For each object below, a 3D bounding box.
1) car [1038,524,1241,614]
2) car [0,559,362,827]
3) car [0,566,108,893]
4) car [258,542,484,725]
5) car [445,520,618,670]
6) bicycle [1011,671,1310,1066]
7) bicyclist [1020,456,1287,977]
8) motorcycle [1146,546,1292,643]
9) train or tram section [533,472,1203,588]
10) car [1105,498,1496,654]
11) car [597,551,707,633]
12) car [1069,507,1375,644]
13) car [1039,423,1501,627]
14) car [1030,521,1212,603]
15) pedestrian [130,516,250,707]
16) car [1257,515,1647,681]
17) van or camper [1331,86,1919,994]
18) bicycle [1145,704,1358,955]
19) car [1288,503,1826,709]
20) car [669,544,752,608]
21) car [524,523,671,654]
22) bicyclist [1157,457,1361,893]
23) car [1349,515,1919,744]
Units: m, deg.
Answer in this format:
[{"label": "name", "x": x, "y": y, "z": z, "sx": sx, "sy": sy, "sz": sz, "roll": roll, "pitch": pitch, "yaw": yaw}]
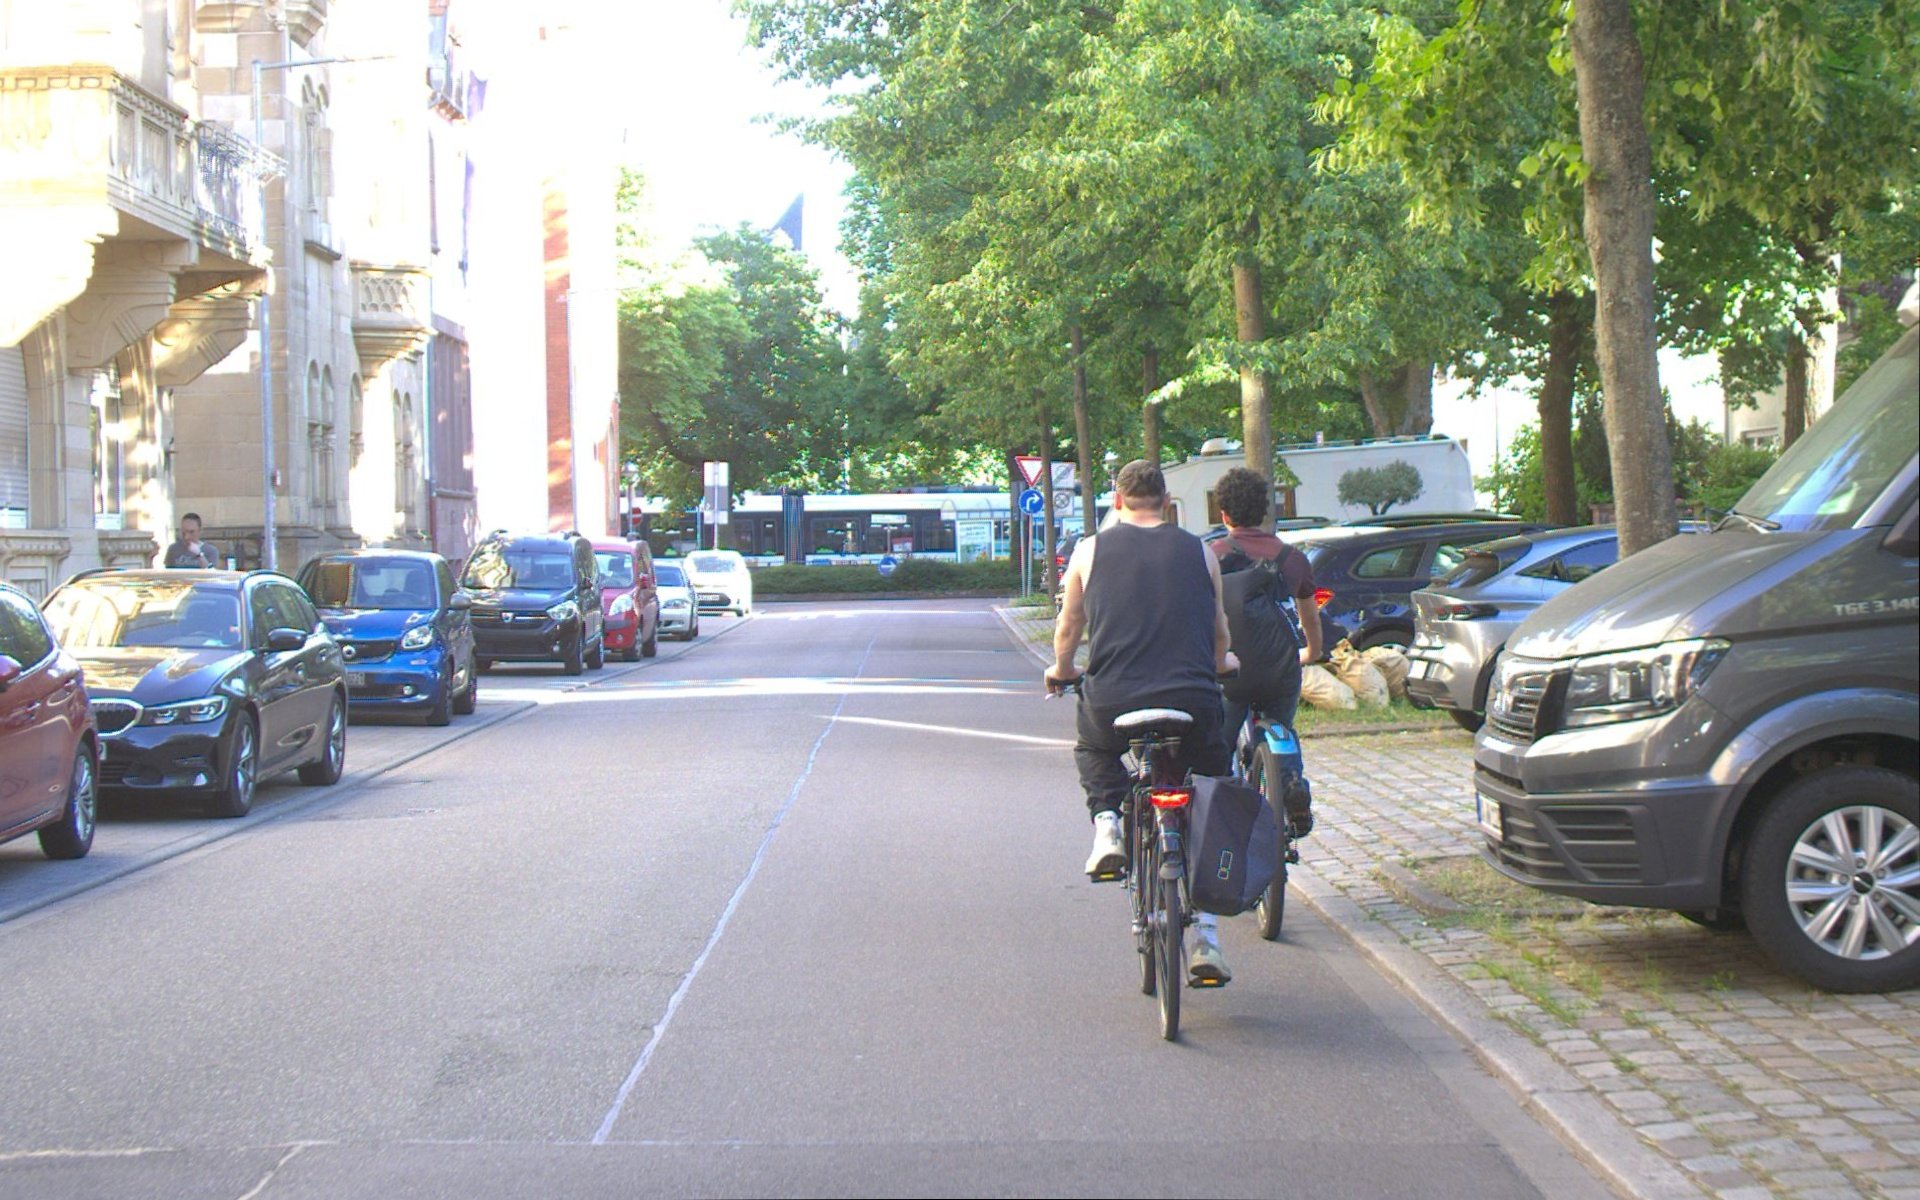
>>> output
[{"label": "car", "x": 3.662, "y": -0.629, "z": 70.668, "sx": 3.986, "sy": 1.797, "sz": 1.834, "roll": 1, "pitch": 0, "yaw": -2}, {"label": "car", "x": -5.049, "y": 0.503, "z": 21.868, "sx": 1.675, "sy": 1.425, "sz": 4.550, "roll": 1, "pitch": 1, "yaw": 0}, {"label": "car", "x": -5.173, "y": 0.584, "z": 16.032, "sx": 1.628, "sy": 1.448, "sz": 3.838, "roll": 0, "pitch": 1, "yaw": -3}, {"label": "car", "x": -5.254, "y": 0.266, "z": 30.937, "sx": 1.595, "sy": 1.484, "sz": 2.737, "roll": 3, "pitch": 1, "yaw": -2}, {"label": "car", "x": -5.449, "y": -0.113, "z": 44.112, "sx": 1.640, "sy": 1.777, "sz": 4.354, "roll": 1, "pitch": 1, "yaw": 0}, {"label": "bicycle", "x": 0.578, "y": 0.775, "z": 10.629, "sx": 0.737, "sy": 1.050, "sz": 1.956, "roll": 1, "pitch": 0, "yaw": -2}, {"label": "bicyclist", "x": 0.586, "y": 0.348, "z": 10.710, "sx": 0.730, "sy": 1.542, "sz": 0.884, "roll": 1, "pitch": 0, "yaw": -2}, {"label": "motorcycle", "x": 3.102, "y": -0.063, "z": 41.260, "sx": 1.606, "sy": 1.137, "sz": 0.671, "roll": -1, "pitch": 1, "yaw": 33}, {"label": "train or tram section", "x": -3.019, "y": -2.387, "z": 122.035, "sx": 23.799, "sy": 3.696, "sz": 4.287, "roll": 0, "pitch": 0, "yaw": -22}, {"label": "car", "x": 3.709, "y": -0.246, "z": 37.943, "sx": 4.139, "sy": 1.594, "sz": 1.702, "roll": -1, "pitch": -1, "yaw": 1}, {"label": "car", "x": -5.532, "y": -0.165, "z": 62.035, "sx": 1.583, "sy": 1.339, "sz": 4.131, "roll": 1, "pitch": 1, "yaw": 0}, {"label": "car", "x": 3.699, "y": -0.351, "z": 48.988, "sx": 4.082, "sy": 1.644, "sz": 1.641, "roll": -4, "pitch": 1, "yaw": -2}, {"label": "car", "x": 5.009, "y": -1.221, "z": 56.302, "sx": 7.146, "sy": 2.968, "sz": 2.465, "roll": -3, "pitch": 1, "yaw": -3}, {"label": "car", "x": 3.651, "y": -0.865, "z": 78.553, "sx": 3.986, "sy": 1.797, "sz": 1.834, "roll": 1, "pitch": 0, "yaw": -2}, {"label": "pedestrian", "x": -7.129, "y": 0.103, "z": 31.871, "sx": 0.938, "sy": 1.736, "sz": 0.735, "roll": 1, "pitch": 0, "yaw": 0}, {"label": "car", "x": 5.022, "y": -0.007, "z": 35.480, "sx": 3.773, "sy": 1.594, "sz": 1.691, "roll": -1, "pitch": -1, "yaw": 1}, {"label": "van or camper", "x": 5.007, "y": -0.393, "z": 11.537, "sx": 7.147, "sy": 2.638, "sz": 2.464, "roll": -4, "pitch": 1, "yaw": 2}, {"label": "bicycle", "x": 1.097, "y": 0.852, "z": 13.272, "sx": 0.633, "sy": 0.796, "sz": 1.833, "roll": -1, "pitch": 1, "yaw": -1}, {"label": "car", "x": 4.956, "y": 0.063, "z": 28.960, "sx": 4.223, "sy": 1.594, "sz": 1.691, "roll": -1, "pitch": -1, "yaw": 1}, {"label": "car", "x": -5.755, "y": -0.581, "z": 79.599, "sx": 1.583, "sy": 1.371, "sz": 4.131, "roll": 1, "pitch": 1, "yaw": 0}, {"label": "car", "x": -5.338, "y": -0.214, "z": 51.028, "sx": 1.689, "sy": 1.819, "sz": 4.273, "roll": 1, "pitch": 1, "yaw": 0}, {"label": "bicyclist", "x": 1.145, "y": 0.273, "z": 13.336, "sx": 0.689, "sy": 1.621, "sz": 0.998, "roll": 0, "pitch": 1, "yaw": 0}, {"label": "car", "x": 4.818, "y": 0.172, "z": 23.466, "sx": 4.032, "sy": 1.449, "sz": 1.691, "roll": -1, "pitch": 1, "yaw": -4}]
